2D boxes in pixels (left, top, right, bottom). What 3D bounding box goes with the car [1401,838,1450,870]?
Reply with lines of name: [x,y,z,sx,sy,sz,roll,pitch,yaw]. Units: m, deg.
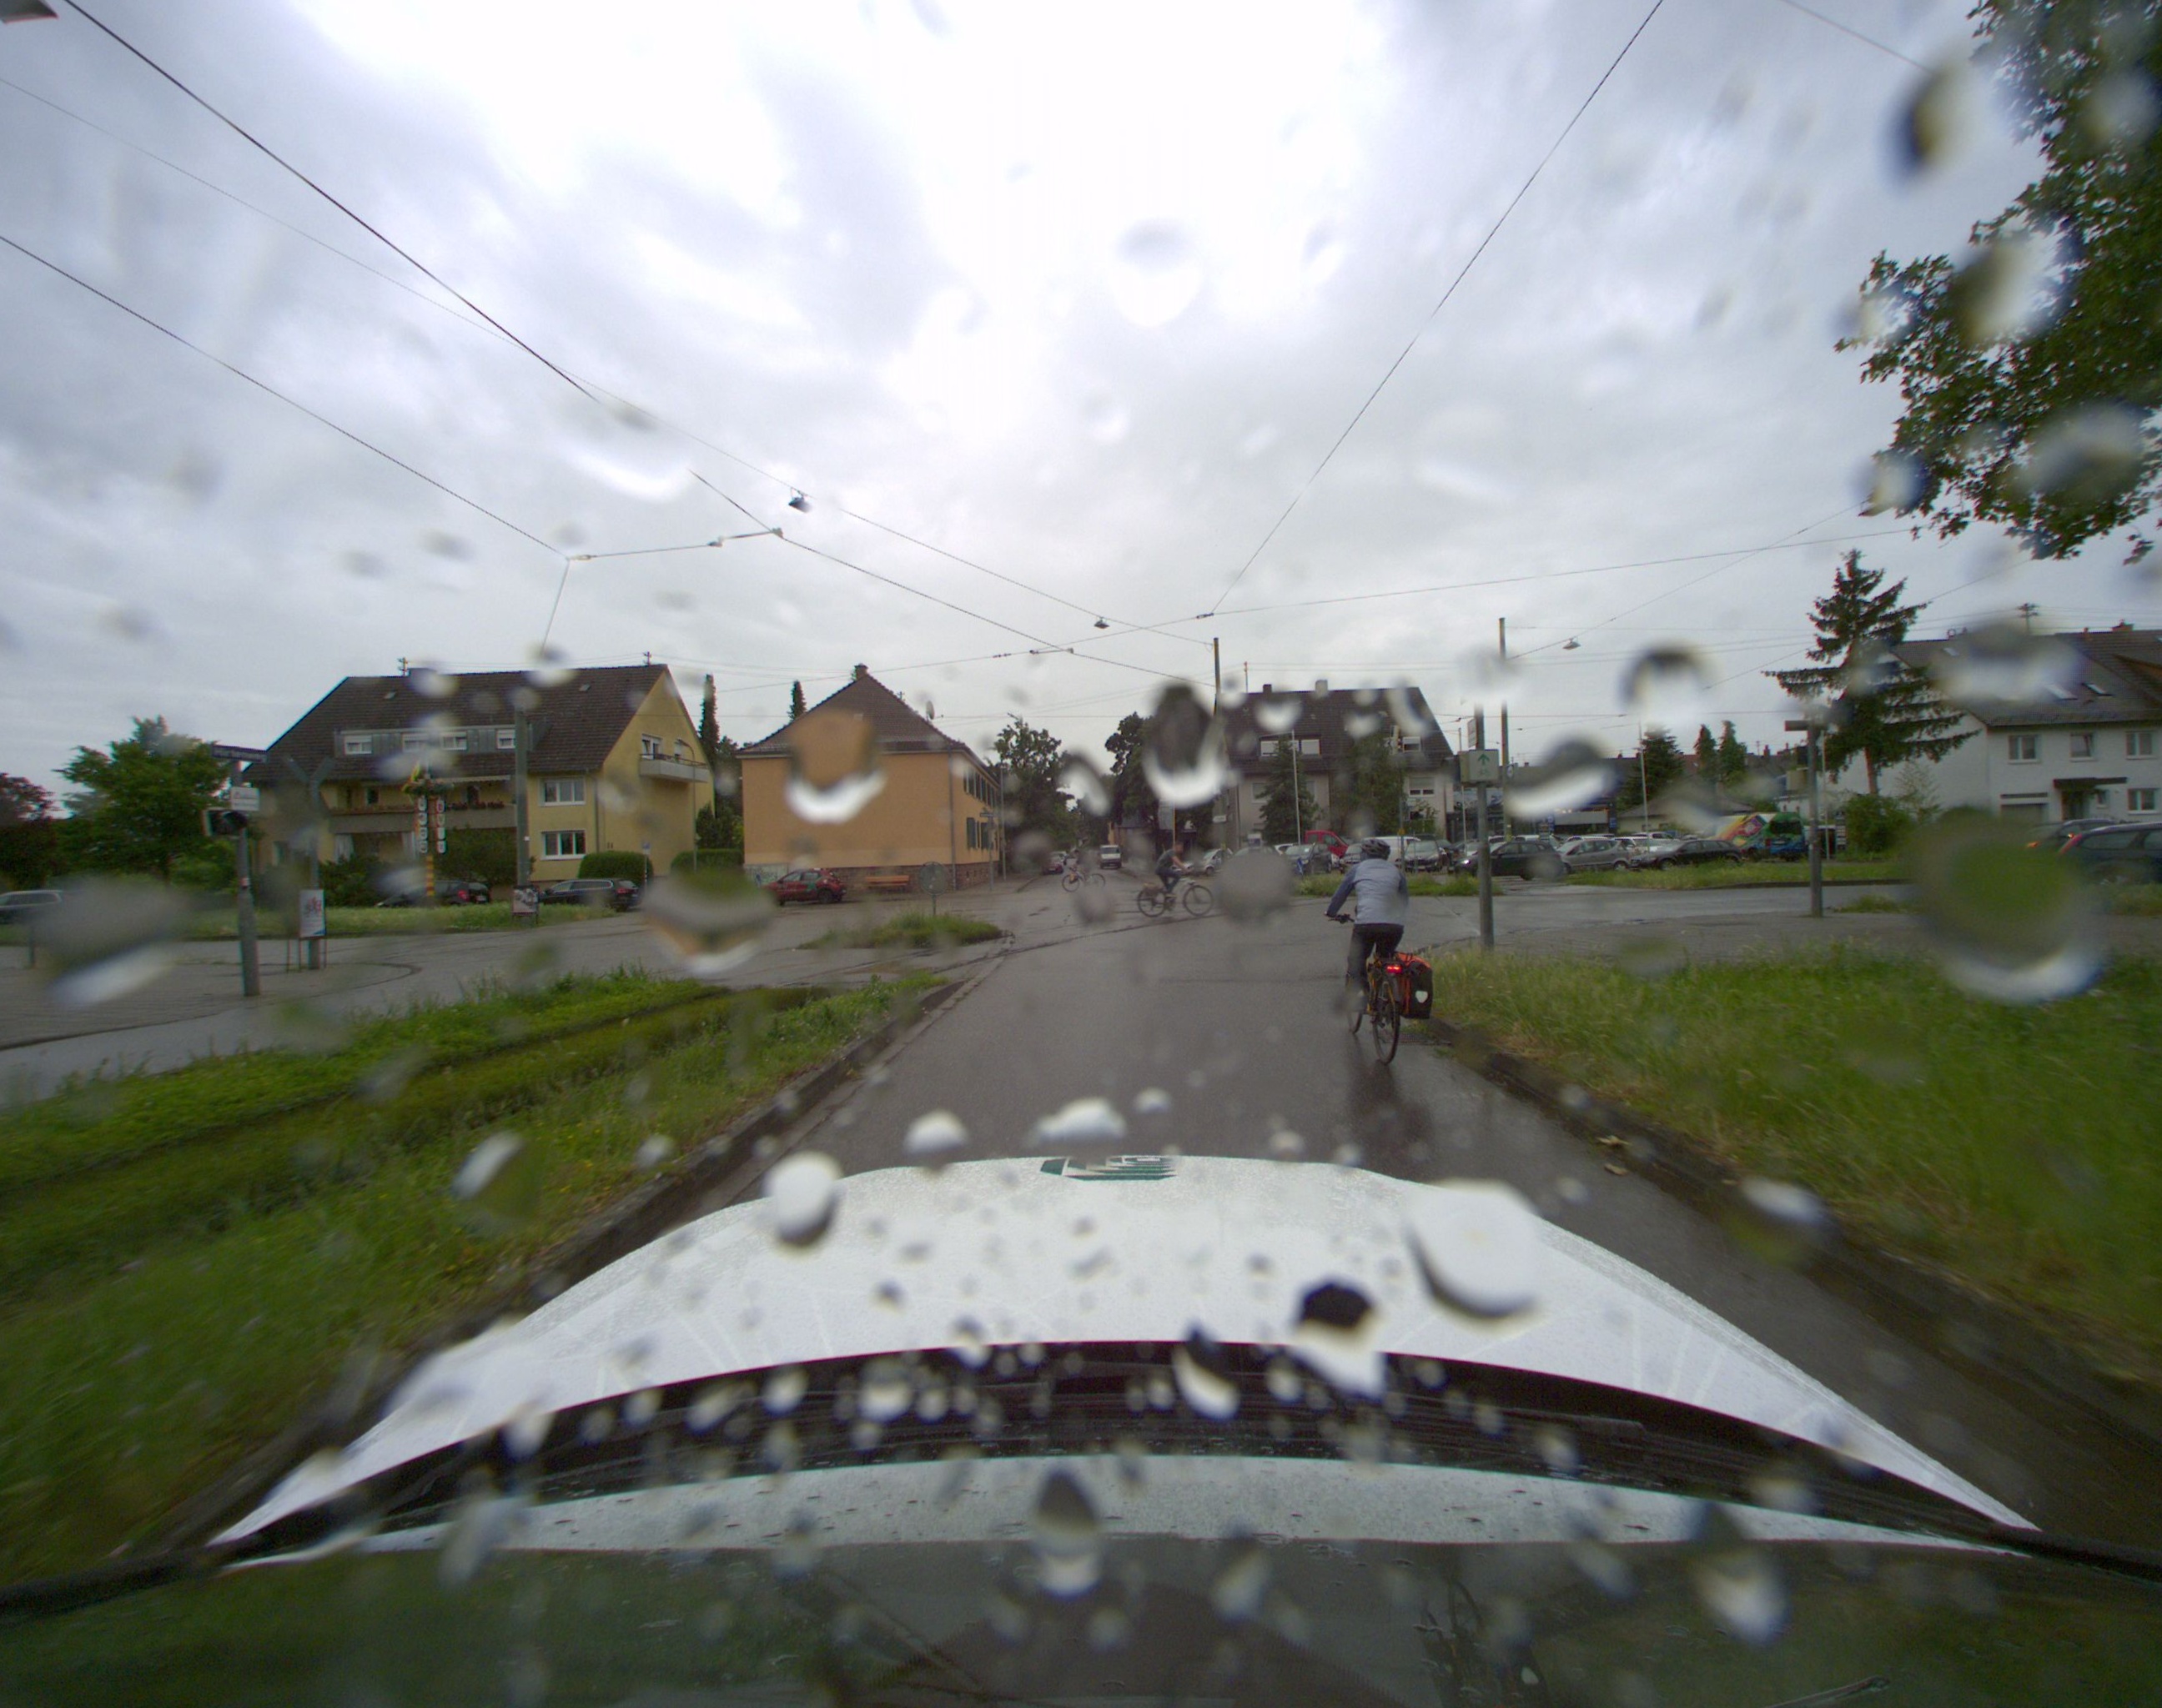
car: [17.268,-0.016,40.737,1.810,1.504,4.083,0,0,30]

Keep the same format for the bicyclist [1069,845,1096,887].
bicyclist: [0.060,0.485,32.966,1.035,1.598,0.949,-3,0,0]

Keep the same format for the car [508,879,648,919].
car: [-20.724,1.825,33.688,4.477,1.396,1.966,-2,0,-1]

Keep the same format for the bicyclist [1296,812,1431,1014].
bicyclist: [2.239,0.449,6.562,0.748,1.485,0.847,-3,0,3]

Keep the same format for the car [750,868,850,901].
car: [-11.757,1.264,34.252,3.595,1.339,1.722,0,0,-2]

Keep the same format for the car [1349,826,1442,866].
car: [17.536,-0.408,45.595,4.413,2.014,2.002,-2,-1,3]

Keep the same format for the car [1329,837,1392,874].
car: [14.114,0.039,41.028,1.974,1.717,4.026,-3,0,34]

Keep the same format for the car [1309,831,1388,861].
car: [17.236,-0.487,52.643,4.413,1.687,2.002,-2,-1,3]

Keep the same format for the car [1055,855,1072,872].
car: [-2.125,1.195,100.533,1.986,2.013,4.001,0,0,1]

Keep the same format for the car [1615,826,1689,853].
car: [37.883,-0.969,53.999,4.448,1.580,1.781,-2,-1,-21]

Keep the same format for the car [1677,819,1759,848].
car: [38.364,-1.243,49.059,4.401,1.580,1.852,-2,-1,-21]

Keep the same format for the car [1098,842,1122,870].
car: [2.778,0.193,78.861,2.147,2.572,4.132,0,0,-1]

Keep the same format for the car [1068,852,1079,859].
car: [-1.966,0.467,205.046,1.831,1.697,4.011,0,0,-15]

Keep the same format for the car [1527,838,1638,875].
car: [21.019,0.098,34.236,3.619,1.504,1.723,0,0,1]

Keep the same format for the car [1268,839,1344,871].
car: [12.882,0.063,46.636,3.932,1.598,2.010,-3,-1,21]

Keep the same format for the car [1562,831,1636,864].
car: [26.169,-0.326,41.248,1.709,1.573,3.622,0,0,5]

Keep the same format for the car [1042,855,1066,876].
car: [-2.359,0.995,71.588,1.988,1.750,3.998,-2,-1,-1]

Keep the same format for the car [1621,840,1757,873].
car: [25.363,0.085,34.074,4.356,1.339,1.724,0,0,3]

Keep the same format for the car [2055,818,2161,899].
car: [20.960,0.043,14.628,1.809,1.476,4.138,-2,0,-28]

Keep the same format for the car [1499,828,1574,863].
car: [23.152,-0.412,41.568,1.794,1.578,3.875,-3,0,3]

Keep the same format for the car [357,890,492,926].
car: [-26.582,2.181,33.084,3.976,1.332,1.759,0,0,-2]

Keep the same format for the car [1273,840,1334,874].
car: [11.430,0.141,41.635,1.784,1.578,3.897,-3,0,34]

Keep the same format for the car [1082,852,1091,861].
car: [1.269,0.478,181.272,1.823,2.013,3.998,0,0,-1]

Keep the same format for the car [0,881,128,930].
car: [-40.286,1.969,31.582,3.982,1.794,1.996,0,0,-6]

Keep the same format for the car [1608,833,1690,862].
car: [28.552,-0.315,41.076,1.709,1.396,3.847,0,0,5]

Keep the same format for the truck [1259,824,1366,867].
truck: [14.078,-0.491,49.554,6.031,2.272,2.010,-3,-1,21]

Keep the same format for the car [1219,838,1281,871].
car: [8.961,0.010,43.043,1.784,1.578,3.897,-3,0,34]

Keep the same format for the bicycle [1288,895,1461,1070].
bicycle: [2.267,0.937,6.578,0.749,1.073,1.929,-3,0,4]

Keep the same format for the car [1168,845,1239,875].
car: [7.456,0.360,49.801,3.871,1.578,1.796,-3,0,-19]

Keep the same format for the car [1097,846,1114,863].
car: [2.943,0.034,96.748,1.986,2.013,4.001,0,0,1]

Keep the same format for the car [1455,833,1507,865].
car: [20.042,-0.236,40.976,1.813,1.504,4.077,0,0,18]

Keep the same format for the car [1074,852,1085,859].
car: [-0.333,0.469,199.590,1.831,1.697,4.011,0,0,-15]

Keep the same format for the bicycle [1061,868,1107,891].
bicycle: [0.125,1.032,32.967,1.808,0.786,0.942,-3,0,-1]

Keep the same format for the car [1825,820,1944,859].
car: [40.267,-0.704,40.886,3.869,1.565,2.000,-5,0,1]

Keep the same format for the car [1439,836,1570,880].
car: [16.212,0.153,31.318,3.974,1.476,2.000,-2,0,-1]

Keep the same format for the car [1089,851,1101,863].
car: [2.276,0.499,134.343,1.823,2.013,3.998,0,0,-1]

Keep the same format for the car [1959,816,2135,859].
car: [37.023,-0.625,31.296,4.545,1.605,1.999,0,0,-1]

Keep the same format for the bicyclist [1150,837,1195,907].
bicyclist: [2.115,0.409,18.880,0.908,1.558,0.833,-1,-1,-1]

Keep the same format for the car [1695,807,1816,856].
car: [34.759,-1.102,42.206,2.137,2.406,5.150,0,0,1]

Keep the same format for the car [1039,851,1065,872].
car: [-2.370,0.630,66.750,1.988,1.618,3.998,-2,-1,-1]

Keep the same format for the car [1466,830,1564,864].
car: [24.062,-0.350,45.254,4.413,1.687,1.762,-2,-1,3]

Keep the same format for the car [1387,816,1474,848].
car: [21.359,-1.352,49.923,4.413,1.687,2.002,-2,-1,3]

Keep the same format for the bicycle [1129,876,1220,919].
bicycle: [2.147,0.992,18.867,1.973,0.912,0.823,-1,-1,-2]

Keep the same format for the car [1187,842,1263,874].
car: [8.210,0.235,46.445,3.871,1.578,1.796,-3,0,-19]

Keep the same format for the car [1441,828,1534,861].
car: [23.674,-0.515,47.585,4.413,1.687,2.002,-2,-1,3]
